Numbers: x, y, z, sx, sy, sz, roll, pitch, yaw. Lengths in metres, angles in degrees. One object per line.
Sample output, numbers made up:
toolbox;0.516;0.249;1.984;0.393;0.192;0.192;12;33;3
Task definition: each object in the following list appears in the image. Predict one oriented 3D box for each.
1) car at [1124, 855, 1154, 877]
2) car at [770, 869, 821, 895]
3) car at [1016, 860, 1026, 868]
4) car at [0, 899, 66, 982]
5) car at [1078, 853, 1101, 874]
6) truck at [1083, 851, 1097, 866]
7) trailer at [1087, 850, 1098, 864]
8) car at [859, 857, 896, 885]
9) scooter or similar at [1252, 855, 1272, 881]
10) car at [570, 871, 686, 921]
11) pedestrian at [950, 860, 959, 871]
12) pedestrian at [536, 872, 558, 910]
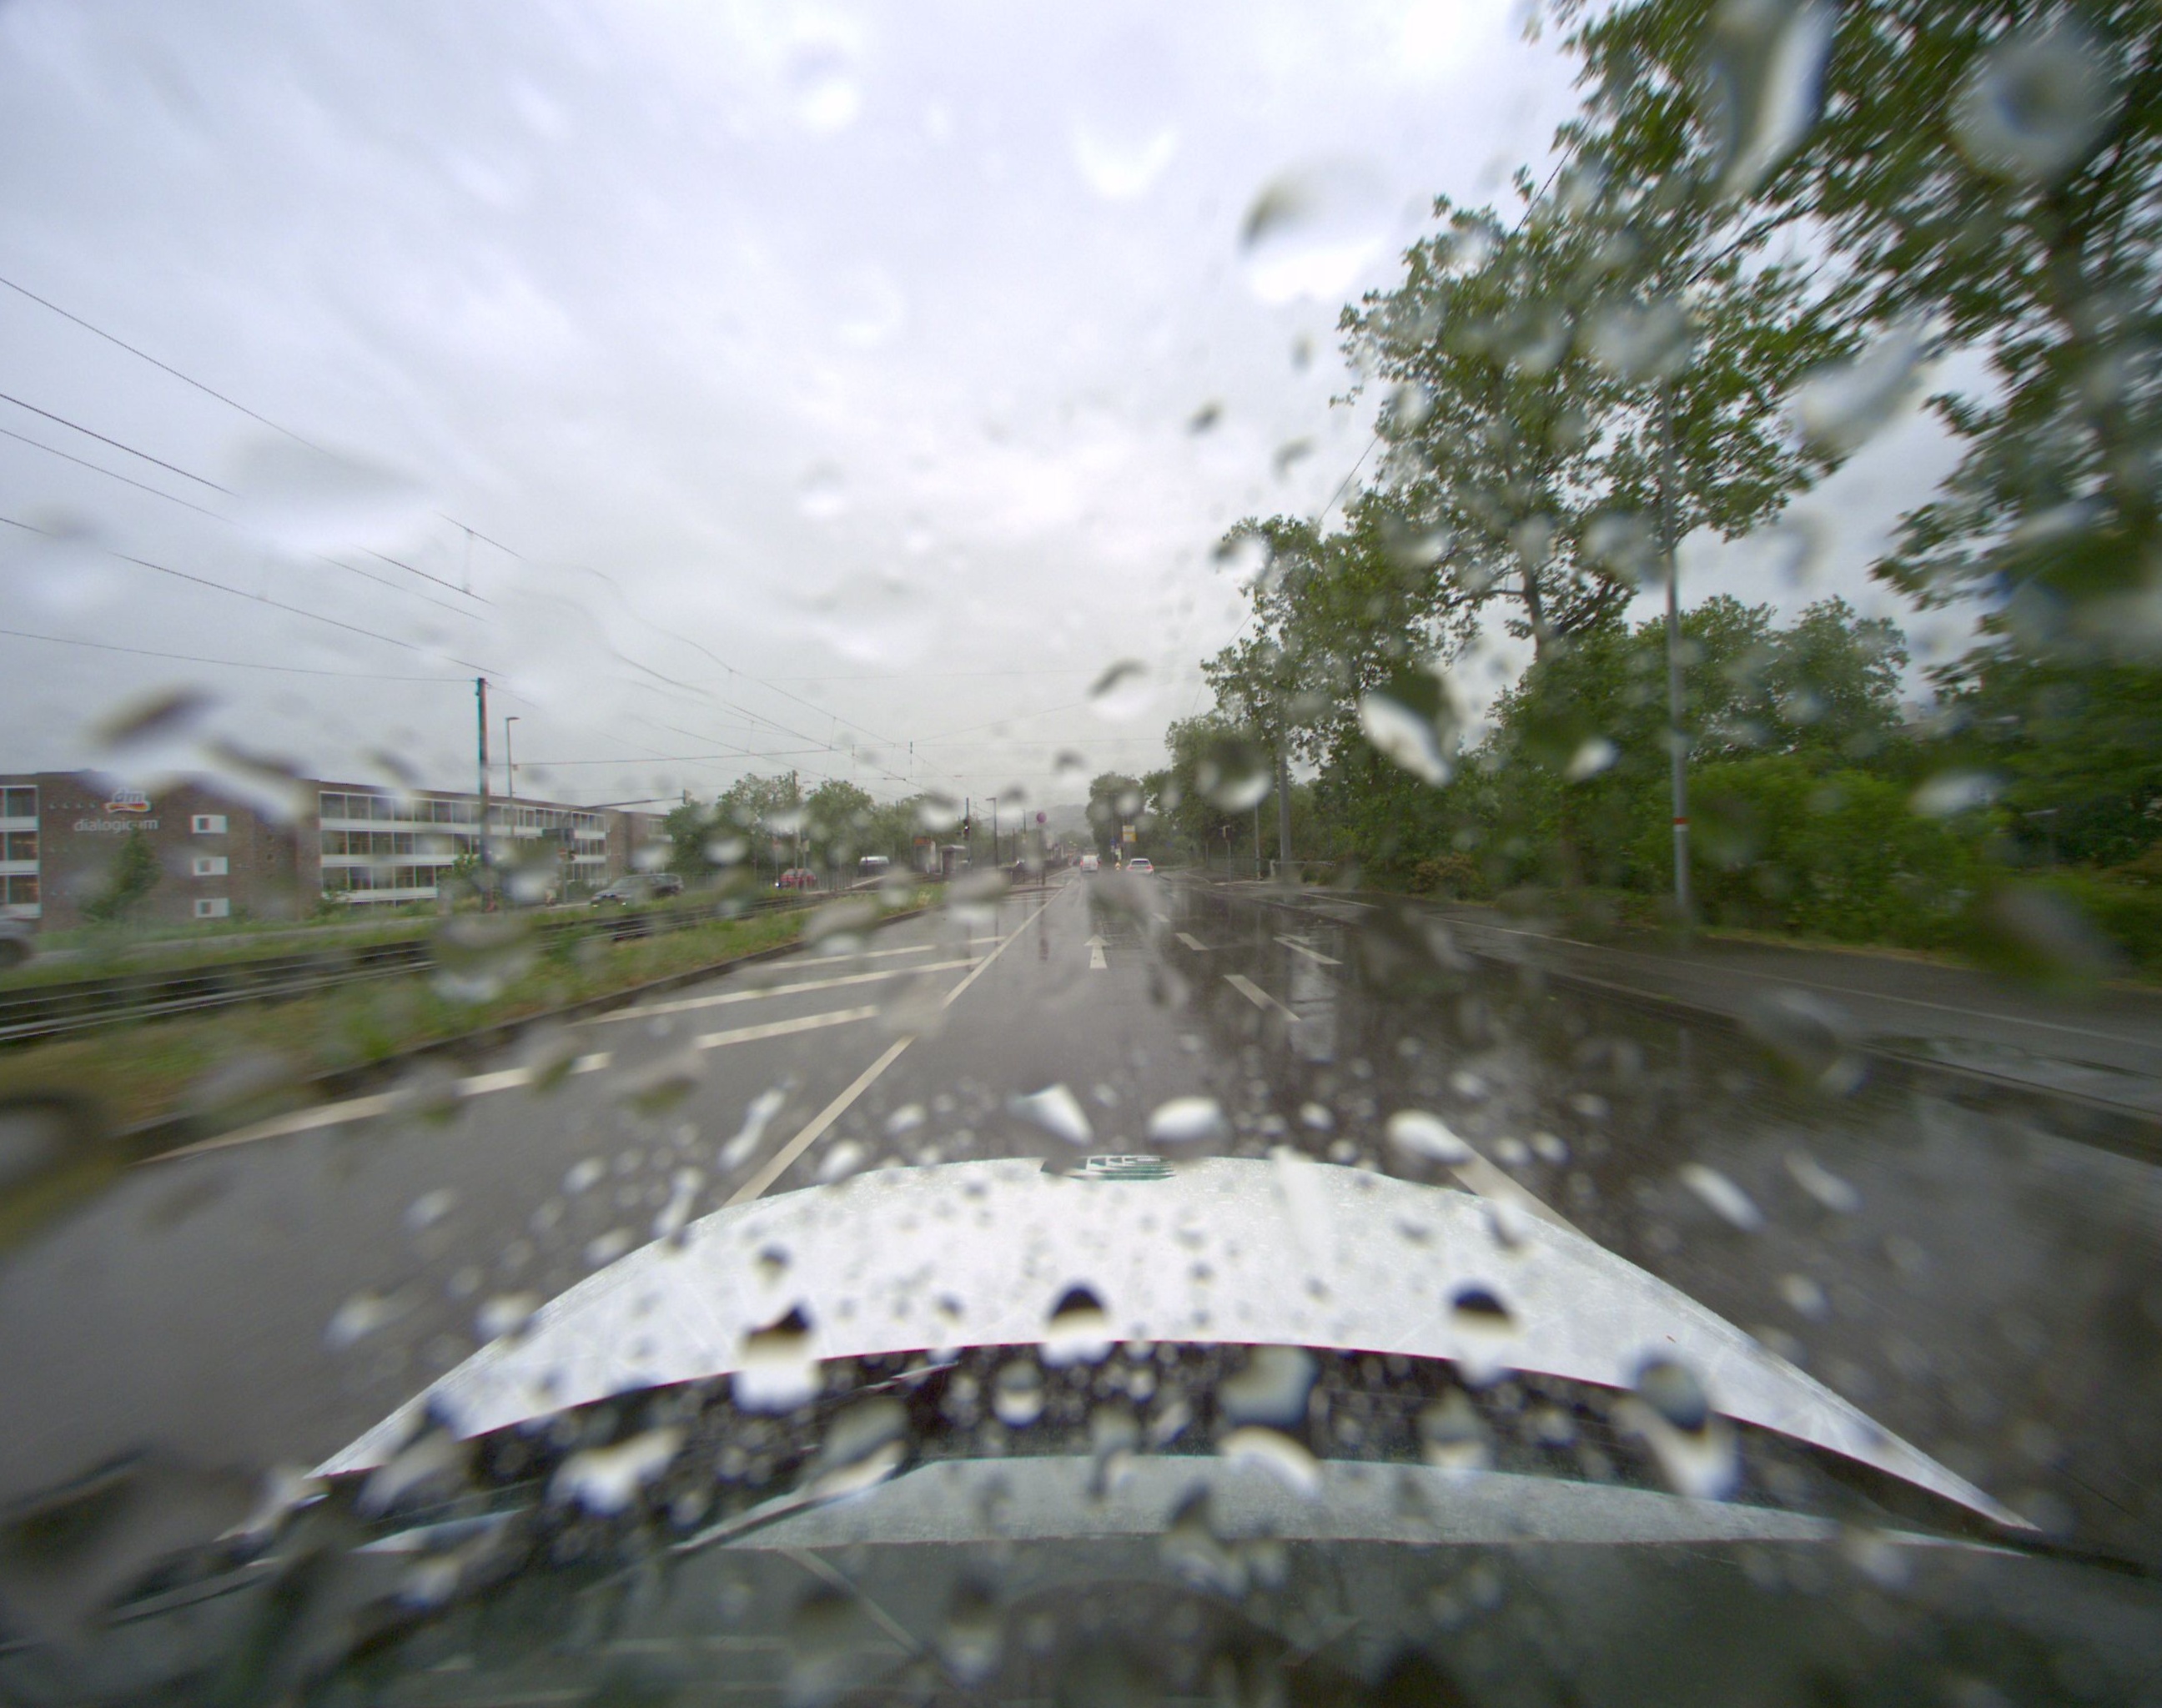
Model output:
car;3.944;0.818;56.160;1.881;1.431;4.001;-2;0;1
car;-20.690;1.990;59.223;1.986;1.707;4.625;-1;0;1
car;-15.243;2.575;207.130;1.986;2.014;4.001;-1;-1;1
car;-21.211;1.662;14.033;1.987;1.486;4.298;-2;0;0
car;0.850;0.888;77.148;1.986;1.849;4.002;-2;0;2
truck;2.238;1.124;198.757;2.769;3.704;9.840;-1;-1;-3
trailer;2.401;0.606;167.529;2.157;2.757;5.679;-1;-1;2
car;-20.258;1.656;81.344;2.112;2.712;5.739;-1;0;1
scooter or similar;9.356;0.709;42.160;0.756;1.293;1.648;-1;-1;3
car;-17.967;1.620;32.600;1.986;1.596;4.382;-5;0;1
pedestrian;-14.162;1.289;91.403;0.828;1.316;0.858;-1;0;1
pedestrian;-29.279;2.037;44.675;0.696;2.013;0.697;-1;0;1
